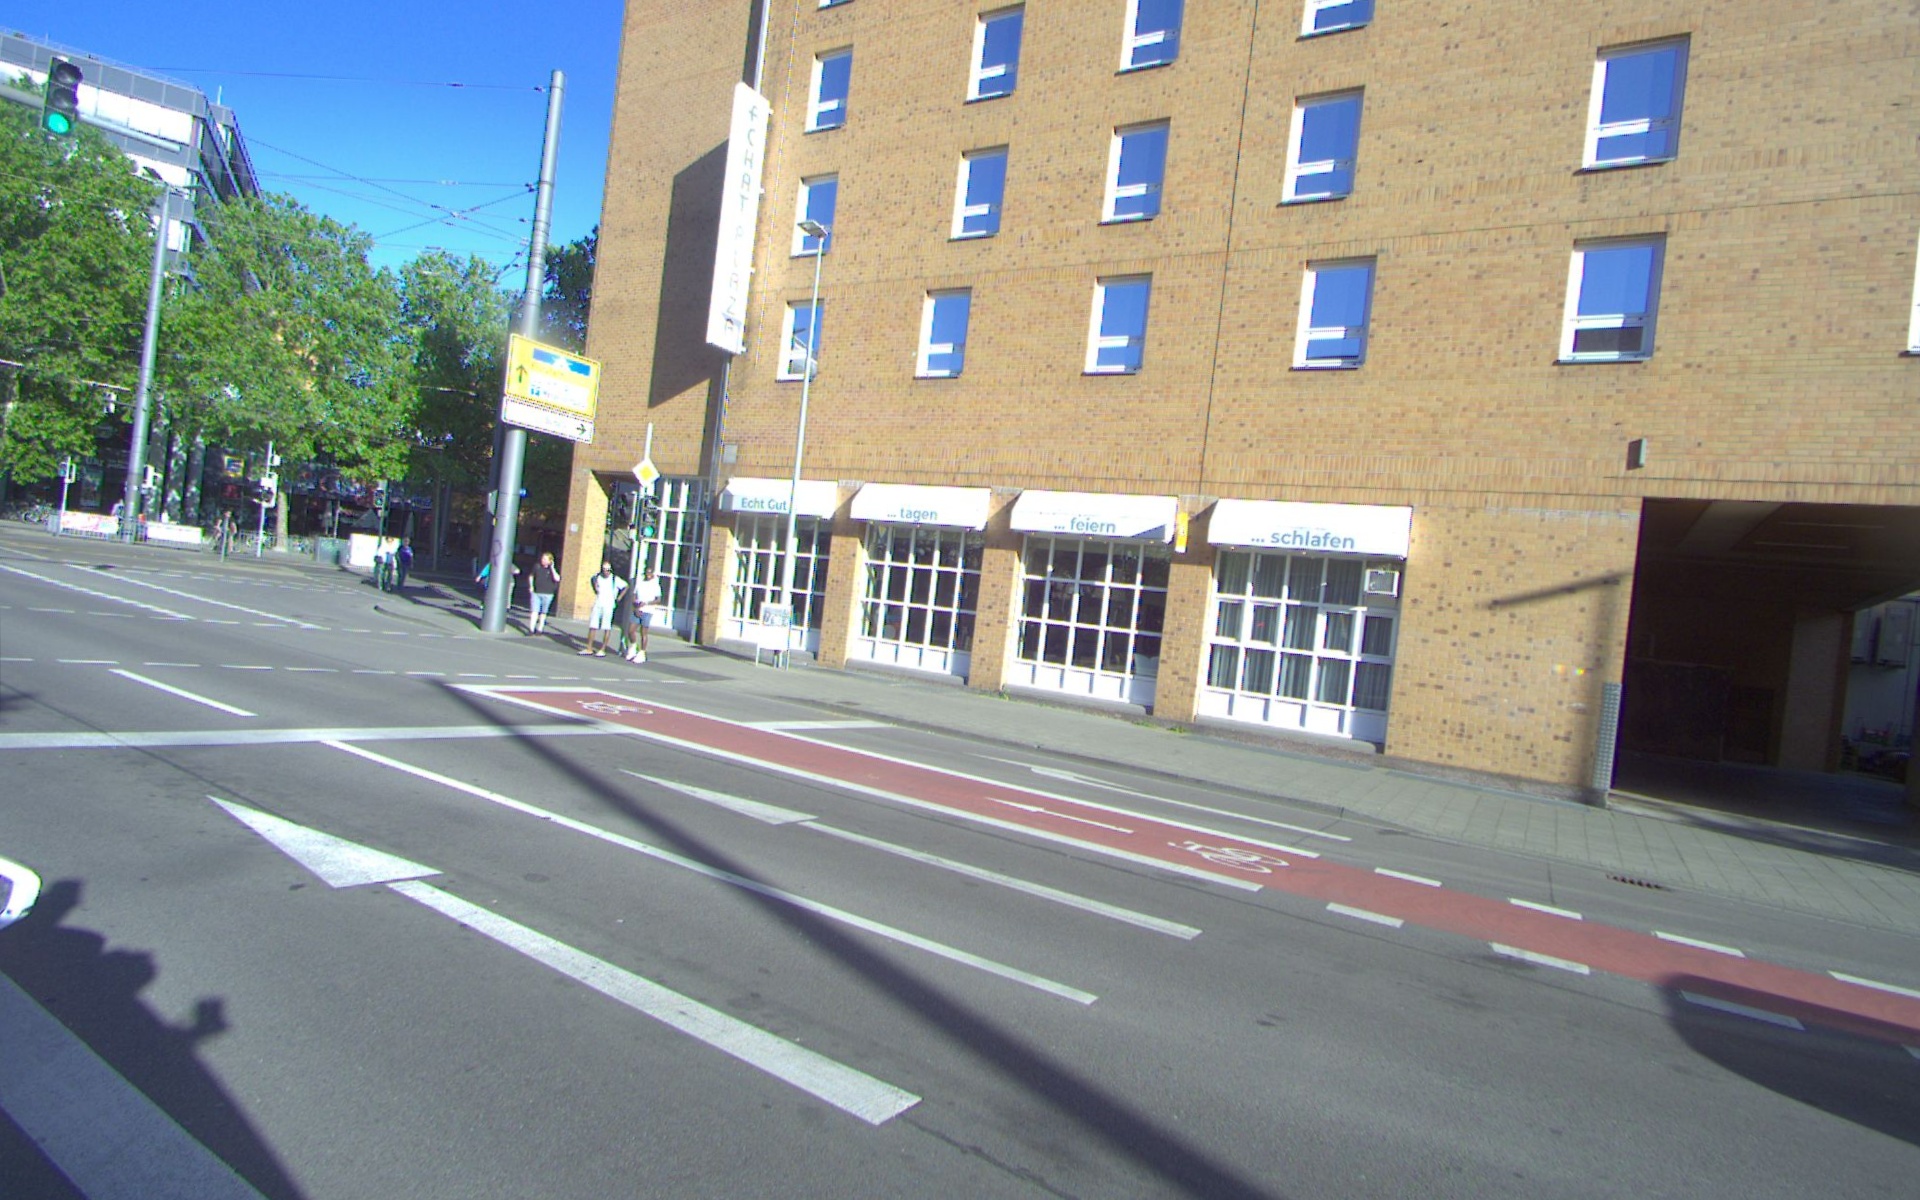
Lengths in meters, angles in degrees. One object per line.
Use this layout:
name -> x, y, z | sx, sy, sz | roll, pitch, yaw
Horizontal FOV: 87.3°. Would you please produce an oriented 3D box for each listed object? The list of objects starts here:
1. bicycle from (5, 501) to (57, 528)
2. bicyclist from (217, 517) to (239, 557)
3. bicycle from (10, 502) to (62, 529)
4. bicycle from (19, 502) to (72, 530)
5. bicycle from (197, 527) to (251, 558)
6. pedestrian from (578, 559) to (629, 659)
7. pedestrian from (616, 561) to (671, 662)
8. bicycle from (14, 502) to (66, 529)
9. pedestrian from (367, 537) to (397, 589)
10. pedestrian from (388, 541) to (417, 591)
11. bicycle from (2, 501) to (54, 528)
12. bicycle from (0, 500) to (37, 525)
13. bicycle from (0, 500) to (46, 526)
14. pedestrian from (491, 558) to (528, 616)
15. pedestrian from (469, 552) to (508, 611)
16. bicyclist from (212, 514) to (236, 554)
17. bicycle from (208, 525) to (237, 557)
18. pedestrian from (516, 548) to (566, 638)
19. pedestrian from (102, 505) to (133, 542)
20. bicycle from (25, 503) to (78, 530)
bicycle -> -48.308, -4.422, 52.346 | 0.354, 1.058, 1.884 | 6, -2, 31
bicyclist -> -36.201, -3.115, 49.745 | 0.396, 1.859, 0.585 | 6, -1, 31
bicycle -> -47.774, -4.367, 52.034 | 0.354, 1.058, 1.884 | 7, -2, 31
bicycle -> -46.632, -4.276, 51.321 | 0.354, 1.058, 1.884 | 6, -2, 31
bicycle -> -36.299, -2.816, 49.650 | 0.414, 1.228, 2.046 | 6, -2, 32
pedestrian -> -6.755, 0.171, 19.037 | 0.589, 1.802, 0.675 | 5, 1, -36
pedestrian -> -5.897, 0.219, 18.769 | 0.583, 1.802, 0.682 | 6, 0, 6
bicycle -> -47.307, -4.331, 51.749 | 0.354, 1.058, 1.884 | 6, -2, 31
pedestrian -> -18.118, -1.151, 31.536 | 0.563, 1.550, 0.695 | 8, -2, -37
pedestrian -> -17.693, -1.072, 31.935 | 0.563, 1.496, 0.695 | 8, -2, -37
bicycle -> -48.714, -4.476, 52.592 | 0.354, 1.058, 1.885 | 7, -2, 31
bicycle -> -50.201, -4.656, 53.250 | 0.354, 1.058, 1.885 | 7, -2, 31
bicycle -> -49.230, -4.546, 52.679 | 0.354, 1.058, 1.885 | 7, -2, 31
pedestrian -> -12.256, -0.360, 27.356 | 0.543, 1.495, 0.593 | 6, 0, 32
pedestrian -> -12.433, -0.474, 26.510 | 0.591, 1.470, 0.593 | 6, 0, 32
bicyclist -> -29.880, -2.673, 40.863 | 0.563, 1.536, 0.626 | 8, -2, -43
bicycle -> -29.967, -2.389, 40.859 | 0.564, 1.192, 2.302 | 8, -2, -43
pedestrian -> -8.890, -0.142, 21.358 | 0.726, 1.813, 0.510 | 7, -1, -19
pedestrian -> -42.710, -3.853, 50.991 | 0.747, 1.724, 0.834 | 6, -1, 32
bicycle -> -45.972, -4.220, 50.928 | 0.354, 1.058, 1.884 | 6, -2, 31
